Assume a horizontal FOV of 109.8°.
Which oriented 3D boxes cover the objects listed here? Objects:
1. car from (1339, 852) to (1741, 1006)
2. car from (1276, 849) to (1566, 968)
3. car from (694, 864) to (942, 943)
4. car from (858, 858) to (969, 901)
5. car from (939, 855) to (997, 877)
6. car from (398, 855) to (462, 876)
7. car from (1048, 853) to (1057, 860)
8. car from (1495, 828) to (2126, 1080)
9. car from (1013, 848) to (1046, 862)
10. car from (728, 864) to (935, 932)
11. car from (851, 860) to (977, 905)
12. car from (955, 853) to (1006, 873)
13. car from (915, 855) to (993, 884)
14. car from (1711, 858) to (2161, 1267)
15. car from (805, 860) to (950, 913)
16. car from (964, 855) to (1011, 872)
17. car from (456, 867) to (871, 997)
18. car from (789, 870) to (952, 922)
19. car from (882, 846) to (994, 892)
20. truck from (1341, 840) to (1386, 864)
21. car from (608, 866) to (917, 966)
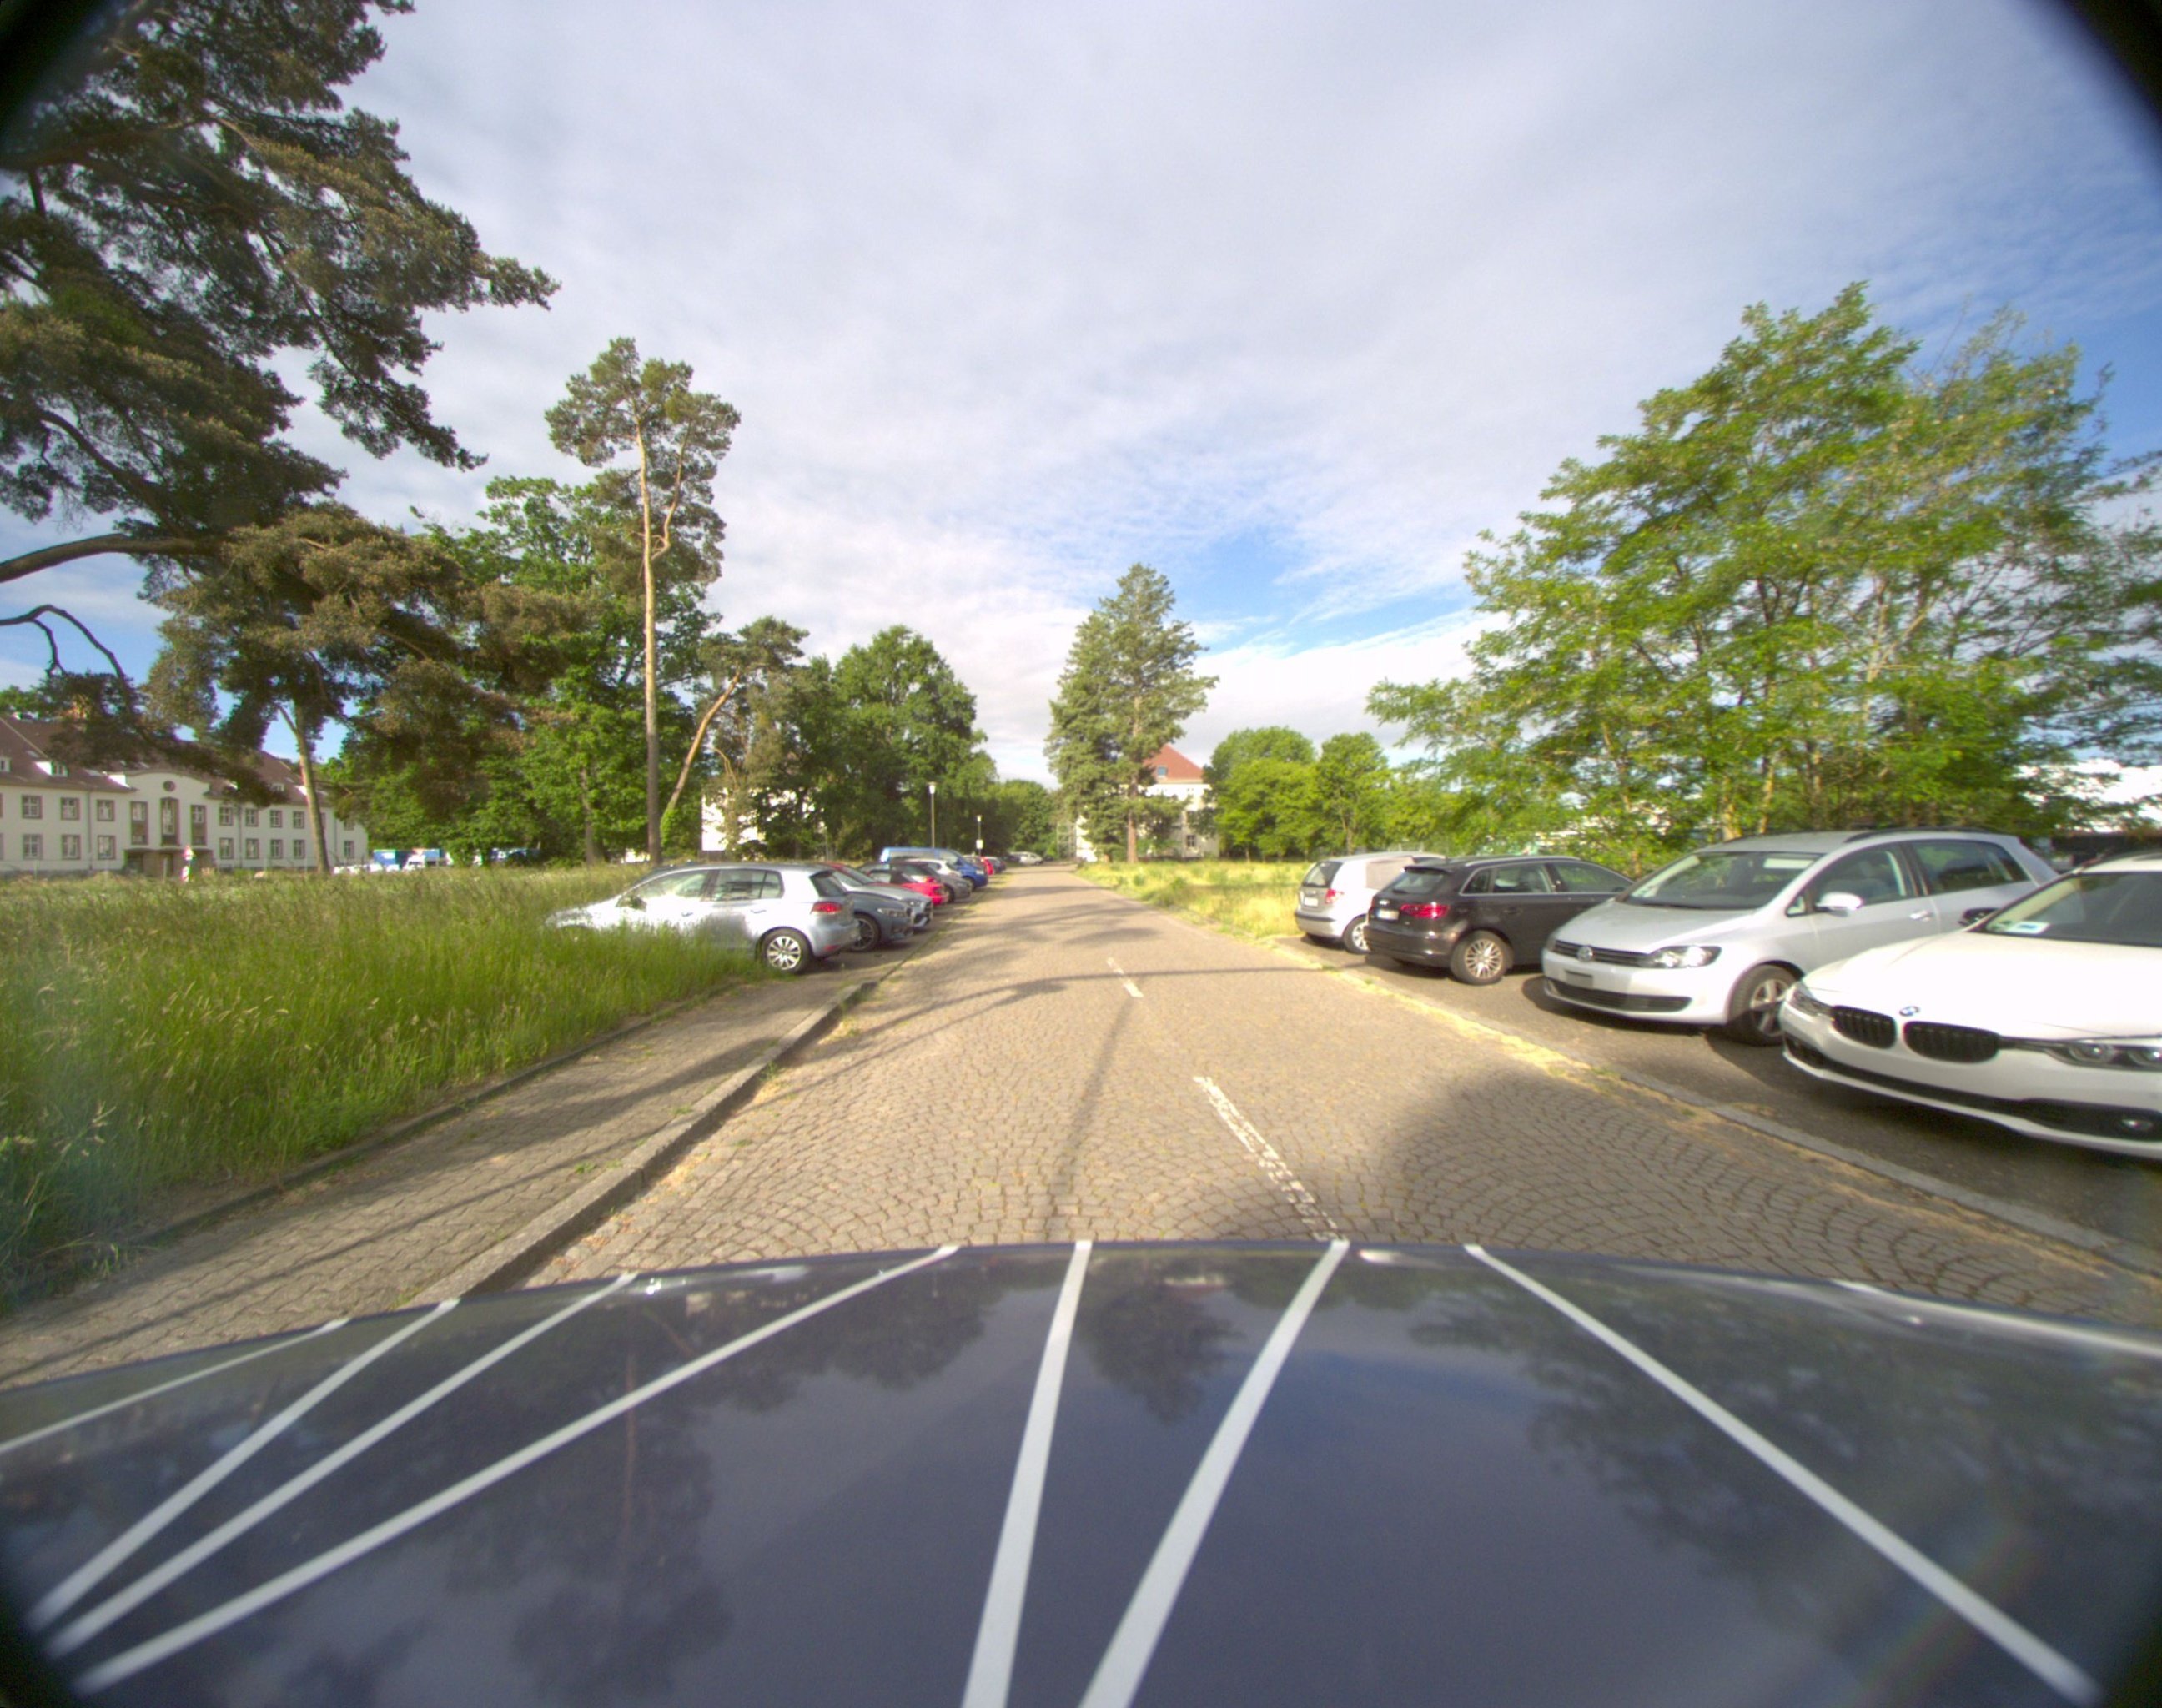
[{"bbox_3d":[5.459,0.818,9.357,3.840,1.421,1.858,-4,1,-5],"label":"car"},{"bbox_3d":[5.236,0.780,12.001,3.694,1.465,1.848,-4,1,-6],"label":"car"},{"bbox_3d":[-5.286,0.969,15.804,4.520,1.465,1.848,0,1,-4],"label":"car"},{"bbox_3d":[-6.283,0.930,28.828,3.885,1.521,1.807,0,1,-4],"label":"car"},{"bbox_3d":[-7.898,0.824,53.247,3.888,1.464,1.686,0,1,-5],"label":"car"},{"bbox_3d":[-73.575,1.250,86.028,2.167,2.286,5.960,-1,0,-1],"label":"car"},{"bbox_3d":[-6.982,0.591,183.828,1.999,1.762,4.107,-1,1,-4],"label":"car"},{"bbox_3d":[6.193,0.706,6.706,4.134,1.591,1.857,-4,1,-8],"label":"car"},{"bbox_3d":[-7.987,0.196,117.302,5.080,2.029,1.999,-1,0,-4],"label":"car"},{"bbox_3d":[-5.782,0.994,18.045,4.353,1.465,1.739,0,1,-4],"label":"car"},{"bbox_3d":[-5.640,0.942,26.009,3.962,1.459,1.830,0,1,-4],"label":"car"},{"bbox_3d":[-8.384,0.741,63.519,4.137,1.560,1.745,0,1,-4],"label":"car"},{"bbox_3d":[-7.130,0.850,43.017,4.203,1.580,1.877,0,1,-5],"label":"car"},{"bbox_3d":[6.463,0.803,4.179,4.601,1.447,1.902,-4,0,-6],"label":"car"},{"bbox_3d":[-6.078,0.960,23.050,3.962,1.487,1.771,0,1,-4],"label":"car"},{"bbox_3d":[-8.405,0.829,68.226,4.037,1.442,1.782,0,1,-2],"label":"car"},{"bbox_3d":[-5.372,0.969,10.383,4.558,1.497,1.932,0,1,-6],"label":"car"},{"bbox_3d":[-5.554,1.092,20.445,3.962,1.254,1.725,0,1,-4],"label":"car"},{"bbox_3d":[-6.348,0.670,34.182,4.747,1.917,1.991,1,1,-5],"label":"car"},{"bbox_3d":[32.329,-0.190,87.169,2.418,2.572,6.957,-1,0,-1],"label":"truck"},{"bbox_3d":[-5.203,0.980,13.025,4.521,1.465,1.893,0,1,-8],"label":"car"}]
